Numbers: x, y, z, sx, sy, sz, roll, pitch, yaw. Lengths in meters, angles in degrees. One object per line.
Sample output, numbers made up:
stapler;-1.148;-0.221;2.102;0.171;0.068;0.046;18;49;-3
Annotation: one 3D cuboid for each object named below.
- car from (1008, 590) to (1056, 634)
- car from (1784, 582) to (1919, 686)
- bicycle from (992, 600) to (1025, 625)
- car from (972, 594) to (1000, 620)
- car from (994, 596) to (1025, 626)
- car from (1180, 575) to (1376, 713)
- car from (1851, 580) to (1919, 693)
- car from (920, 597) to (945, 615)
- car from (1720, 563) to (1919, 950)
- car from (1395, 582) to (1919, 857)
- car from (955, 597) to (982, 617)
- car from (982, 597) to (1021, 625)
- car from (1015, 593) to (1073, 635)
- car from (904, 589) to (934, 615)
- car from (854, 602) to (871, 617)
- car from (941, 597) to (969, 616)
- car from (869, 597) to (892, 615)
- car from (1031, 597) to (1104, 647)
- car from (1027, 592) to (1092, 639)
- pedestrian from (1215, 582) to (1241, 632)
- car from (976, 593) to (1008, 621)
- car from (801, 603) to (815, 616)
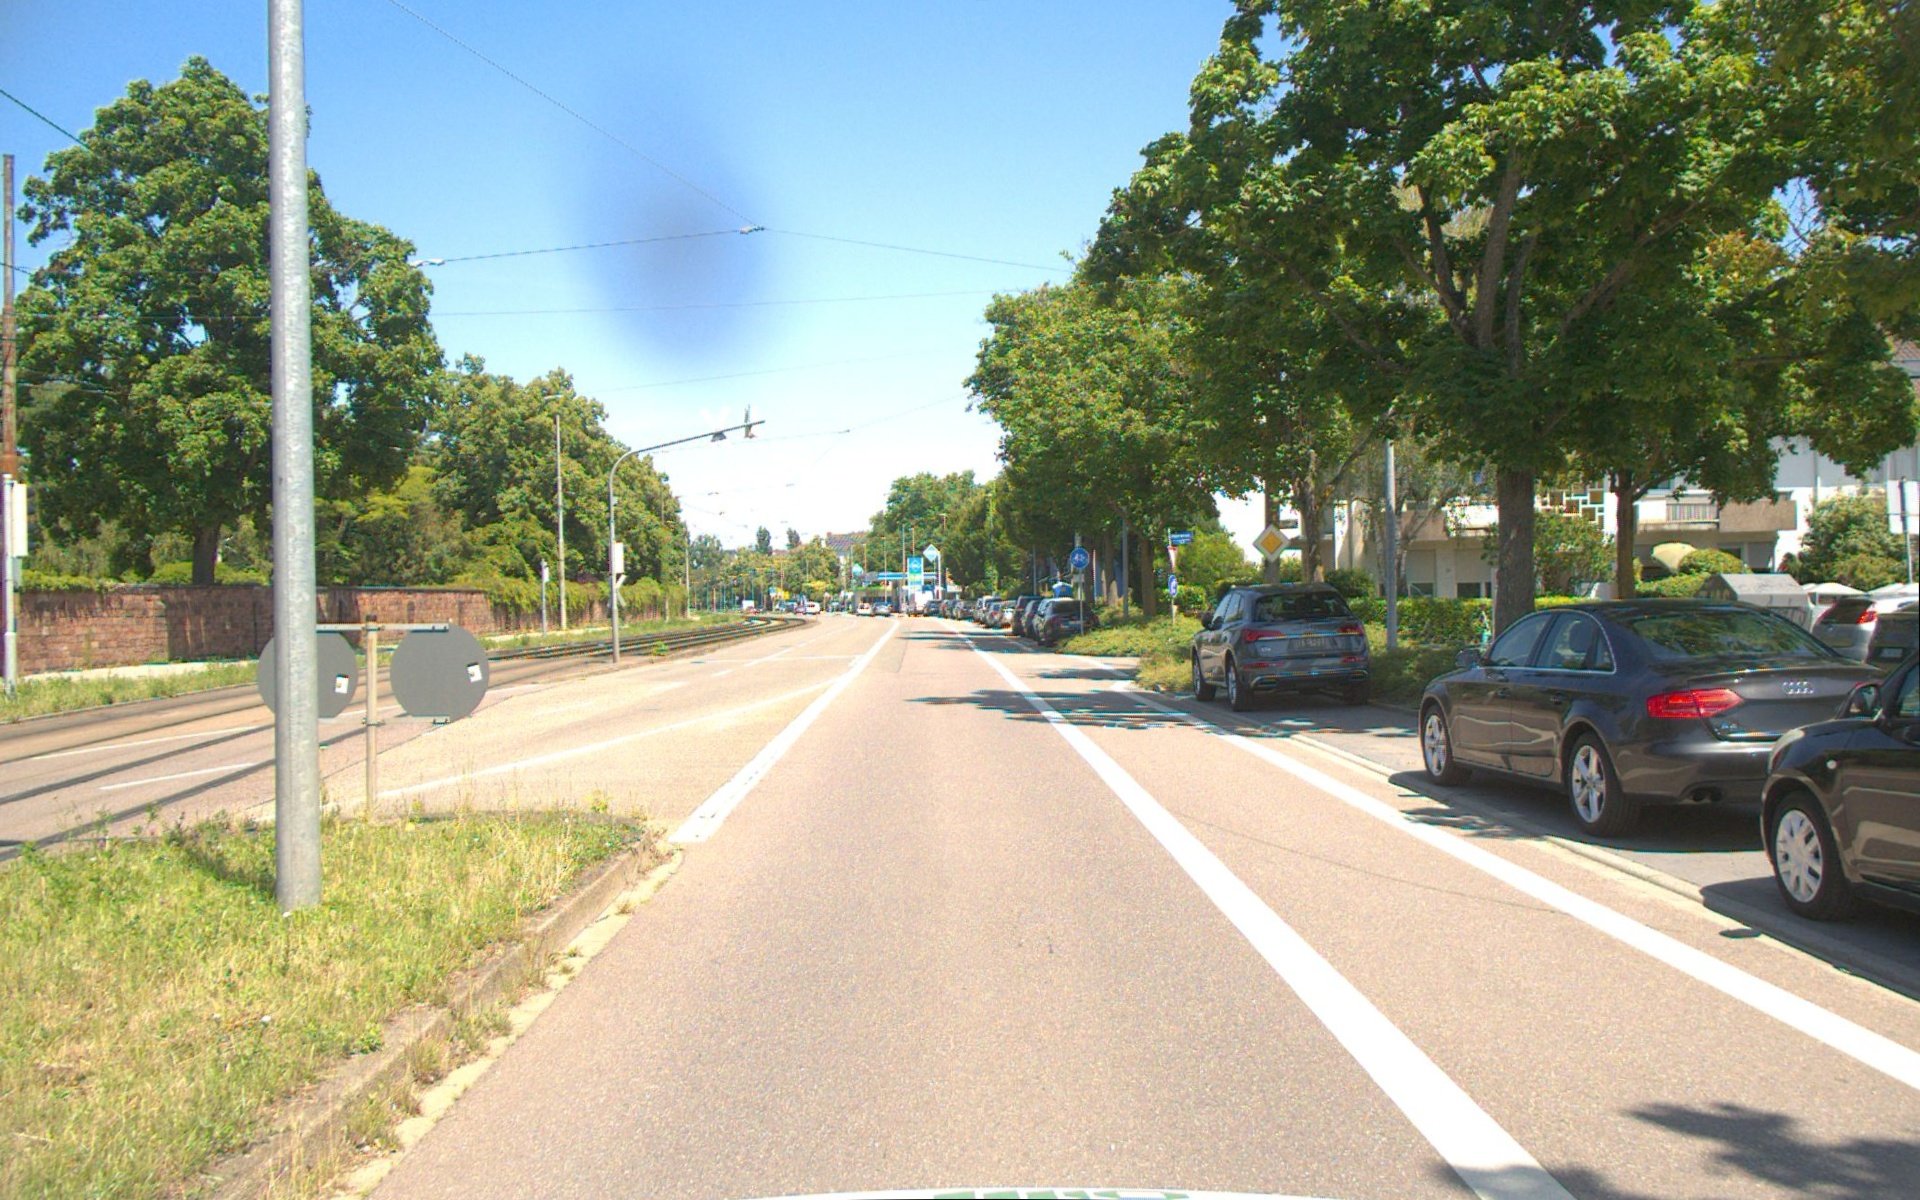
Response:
car;3.151;0.490;72.784;1.803;1.736;4.626;-3;0;0
car;14.989;0.525;25.424;3.783;1.515;1.769;1;0;-4
bicycle;2.708;0.687;92.654;1.737;1.249;0.684;-6;-1;3
car;1.909;0.490;120.844;1.803;1.723;4.777;-3;0;-1
car;2.807;0.618;94.695;1.488;1.556;3.815;-3;0;-1
car;4.395;0.587;23.570;1.678;1.661;4.706;-3;0;-2
car;14.667;0.520;22.843;3.783;1.515;1.769;1;0;-4
car;-2.753;0.566;164.637;1.724;1.659;4.313;-3;0;-10
car;4.777;0.620;6.596;1.677;1.567;3.840;-3;0;0
car;4.681;0.662;11.679;1.678;1.443;4.705;-3;0;-3
car;0.677;0.555;137.665;1.674;1.518;5.032;-3;0;-5
car;2.457;0.626;99.694;1.805;1.556;4.962;-3;0;-4
car;3.377;0.549;67.153;1.804;1.556;4.350;-3;0;-4
car;-4.367;0.228;174.708;1.966;2.499;6.092;-3;0;-11
car;-12.066;1.188;204.443;1.723;1.659;4.315;-3;0;-9
car;-0.466;0.560;148.812;1.676;1.589;4.312;-3;0;-11
car;-7.984;0.552;164.848;1.724;1.659;4.314;-3;0;-9
car;3.529;0.699;55.189;1.804;1.461;4.821;-3;0;-3
car;3.667;0.552;61.593;1.805;1.556;4.202;-3;0;-4
pedestrian;9.321;0.245;57.593;0.733;1.752;0.632;0;0;-8
car;2.211;0.477;114.668;1.804;1.825;4.351;-3;0;-3
car;-23.164;1.482;252.185;1.724;1.907;4.313;-3;0;-10
